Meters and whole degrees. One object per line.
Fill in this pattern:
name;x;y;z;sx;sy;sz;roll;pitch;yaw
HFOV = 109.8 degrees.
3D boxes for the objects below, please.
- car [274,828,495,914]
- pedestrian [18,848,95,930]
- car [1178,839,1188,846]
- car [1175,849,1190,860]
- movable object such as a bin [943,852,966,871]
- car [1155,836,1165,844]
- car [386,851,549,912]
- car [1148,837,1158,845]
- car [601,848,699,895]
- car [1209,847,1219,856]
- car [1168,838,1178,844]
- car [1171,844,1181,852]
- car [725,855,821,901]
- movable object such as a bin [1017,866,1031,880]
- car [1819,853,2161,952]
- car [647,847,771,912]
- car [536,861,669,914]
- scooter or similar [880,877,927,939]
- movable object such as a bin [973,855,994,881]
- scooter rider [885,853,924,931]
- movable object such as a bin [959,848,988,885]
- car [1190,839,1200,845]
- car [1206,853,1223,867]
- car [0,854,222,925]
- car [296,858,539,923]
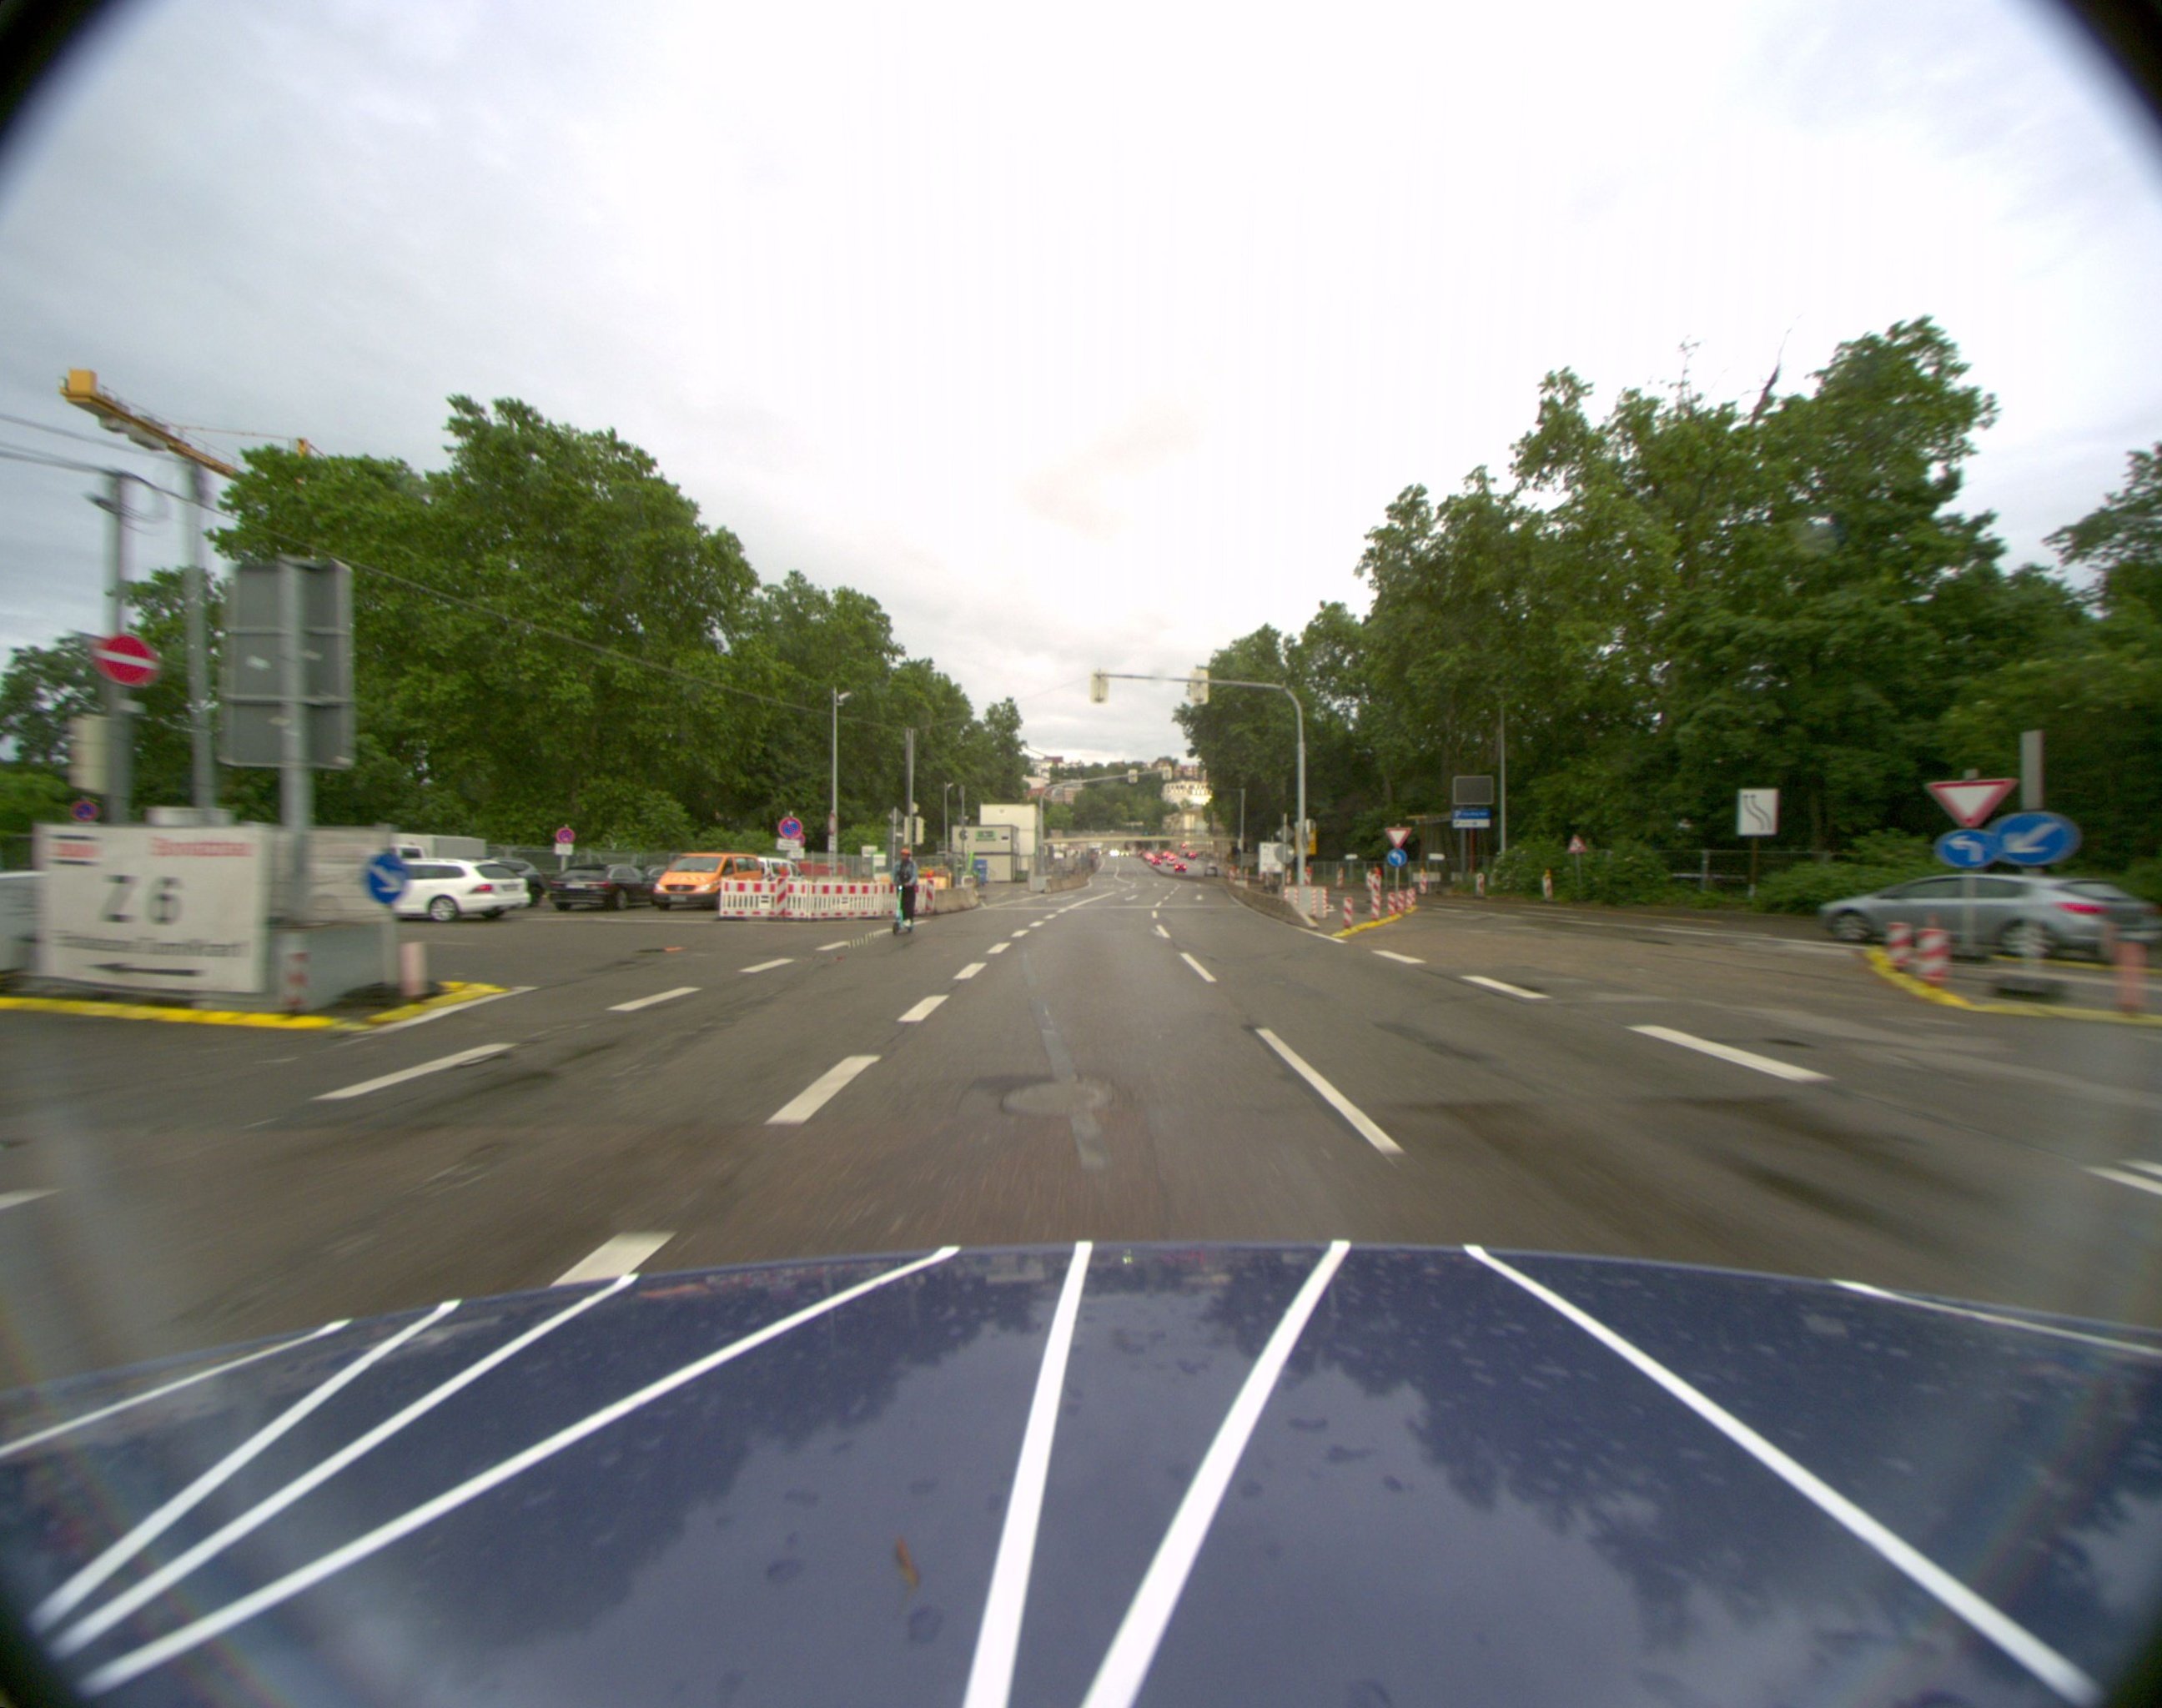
car;-21.170;0.415;23.557;2.050;2.300;5.601;1;1;-5
pedestrian;-22.656;0.753;16.815;0.706;1.725;0.825;3;4;25
car;29.879;-3.363;222.188;1.999;2.003;3.995;1;3;-5
car;16.916;0.140;126.634;1.998;1.533;4.578;2;3;2
movable object such as a bin;-9.238;0.568;55.401;1.177;1.336;1.267;-1;0;21
car;21.332;-3.850;204.767;2.036;1.926;5.040;1;3;-1
car;-18.323;0.757;22.971;1.945;1.610;3.932;1;1;-4
car;18.109;-3.270;191.357;1.898;1.559;4.895;1;3;1
car;-17.341;0.641;30.828;1.764;1.551;3.997;1;3;-1
car;26.576;-0.452;151.822;1.872;1.533;4.091;2;3;9
car;24.529;-3.351;202.036;1.999;1.375;4.208;1;3;-3
car;20.826;-1.360;166.887;2.034;1.644;4.913;2;2;8
car;-12.885;0.959;32.208;1.851;1.796;5.087;-1;0;2
movable object such as a bin;-5.767;1.926;77.047;1.249;1.230;1.238;2;4;1
car;16.868;0.789;14.243;1.770;1.454;4.174;2;1;-4
car;-12.632;0.758;26.239;1.917;1.964;5.160;-1;1;-3
car;-15.168;0.993;24.368;1.917;1.443;3.910;-1;1;-3
scooter or similar;-4.134;1.230;17.799;0.598;1.311;1.667;-1;1;3
movable object such as a bin;-8.147;1.157;63.491;1.462;2.190;1.263;-1;0;-21
scooter rider;-4.132;0.865;17.807;0.598;1.775;0.997;-1;2;3
movable object such as a bin;-8.369;0.965;59.412;1.812;2.793;3.865;-1;0;-3
car;31.024;-3.305;206.424;2.036;1.644;4.317;0;1;-2
car;18.622;0.794;105.869;1.997;1.533;4.445;2;3;6
car;-23.085;0.818;17.985;3.354;1.473;1.624;1;4;-7
car;-15.938;0.857;18.423;4.213;1.444;1.814;1;1;-2
